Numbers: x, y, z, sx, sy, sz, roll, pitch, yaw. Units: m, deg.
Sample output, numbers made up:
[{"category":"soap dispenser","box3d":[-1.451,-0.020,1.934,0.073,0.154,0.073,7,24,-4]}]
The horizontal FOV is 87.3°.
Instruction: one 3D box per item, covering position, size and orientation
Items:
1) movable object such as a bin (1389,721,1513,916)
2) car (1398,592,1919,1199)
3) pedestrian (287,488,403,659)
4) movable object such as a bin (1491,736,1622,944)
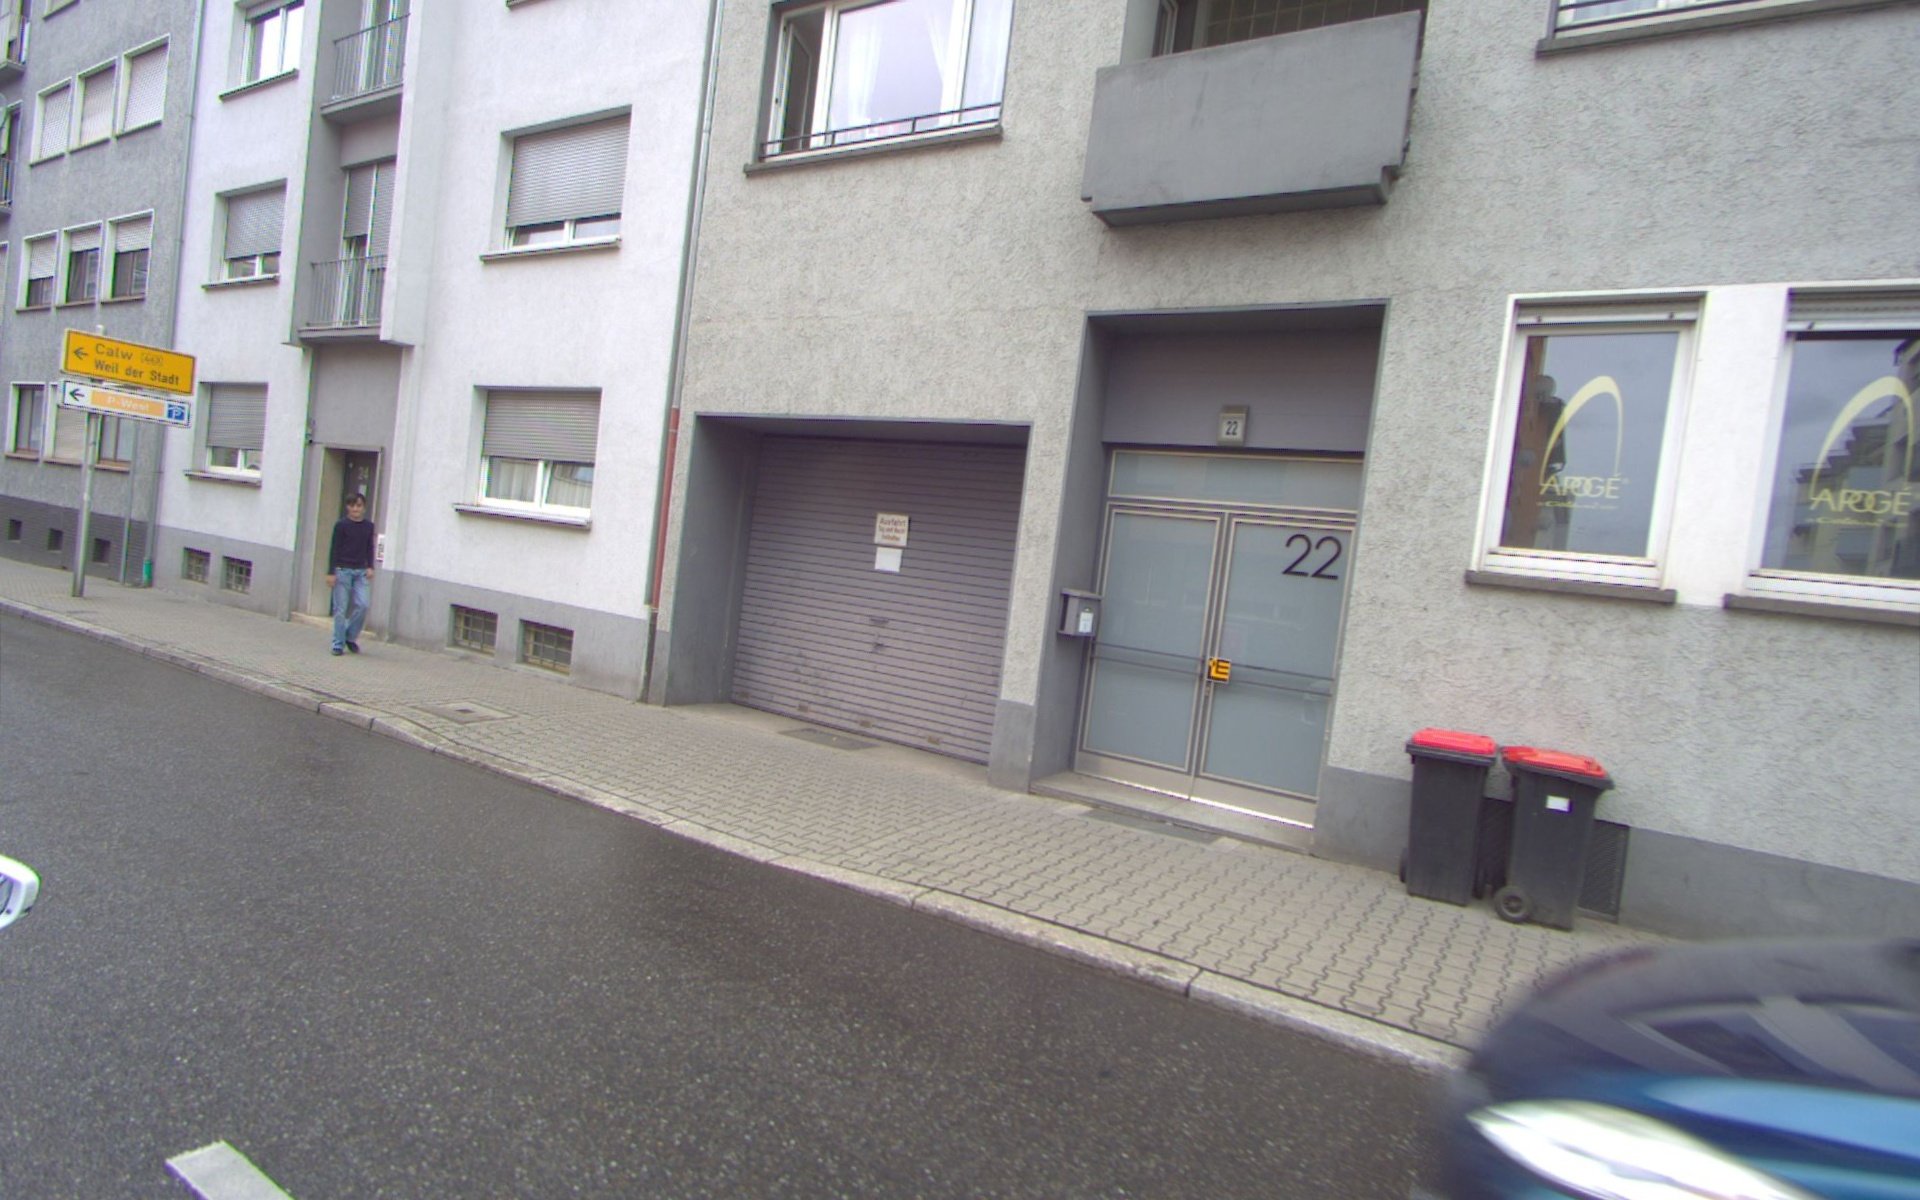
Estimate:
[{"category":"movable object such as a bin","box3d":[2.893,1.254,5.918,0.507,0.969,0.539,7,4,32]},{"category":"car","box3d":[2.950,1.077,1.275,4.144,1.625,1.810,7,-1,34]},{"category":"pedestrian","box3d":[-6.929,-0.303,11.323,1.039,1.802,0.643,7,4,31]},{"category":"movable object such as a bin","box3d":[3.325,1.305,5.618,0.507,0.963,0.539,7,4,32]}]
